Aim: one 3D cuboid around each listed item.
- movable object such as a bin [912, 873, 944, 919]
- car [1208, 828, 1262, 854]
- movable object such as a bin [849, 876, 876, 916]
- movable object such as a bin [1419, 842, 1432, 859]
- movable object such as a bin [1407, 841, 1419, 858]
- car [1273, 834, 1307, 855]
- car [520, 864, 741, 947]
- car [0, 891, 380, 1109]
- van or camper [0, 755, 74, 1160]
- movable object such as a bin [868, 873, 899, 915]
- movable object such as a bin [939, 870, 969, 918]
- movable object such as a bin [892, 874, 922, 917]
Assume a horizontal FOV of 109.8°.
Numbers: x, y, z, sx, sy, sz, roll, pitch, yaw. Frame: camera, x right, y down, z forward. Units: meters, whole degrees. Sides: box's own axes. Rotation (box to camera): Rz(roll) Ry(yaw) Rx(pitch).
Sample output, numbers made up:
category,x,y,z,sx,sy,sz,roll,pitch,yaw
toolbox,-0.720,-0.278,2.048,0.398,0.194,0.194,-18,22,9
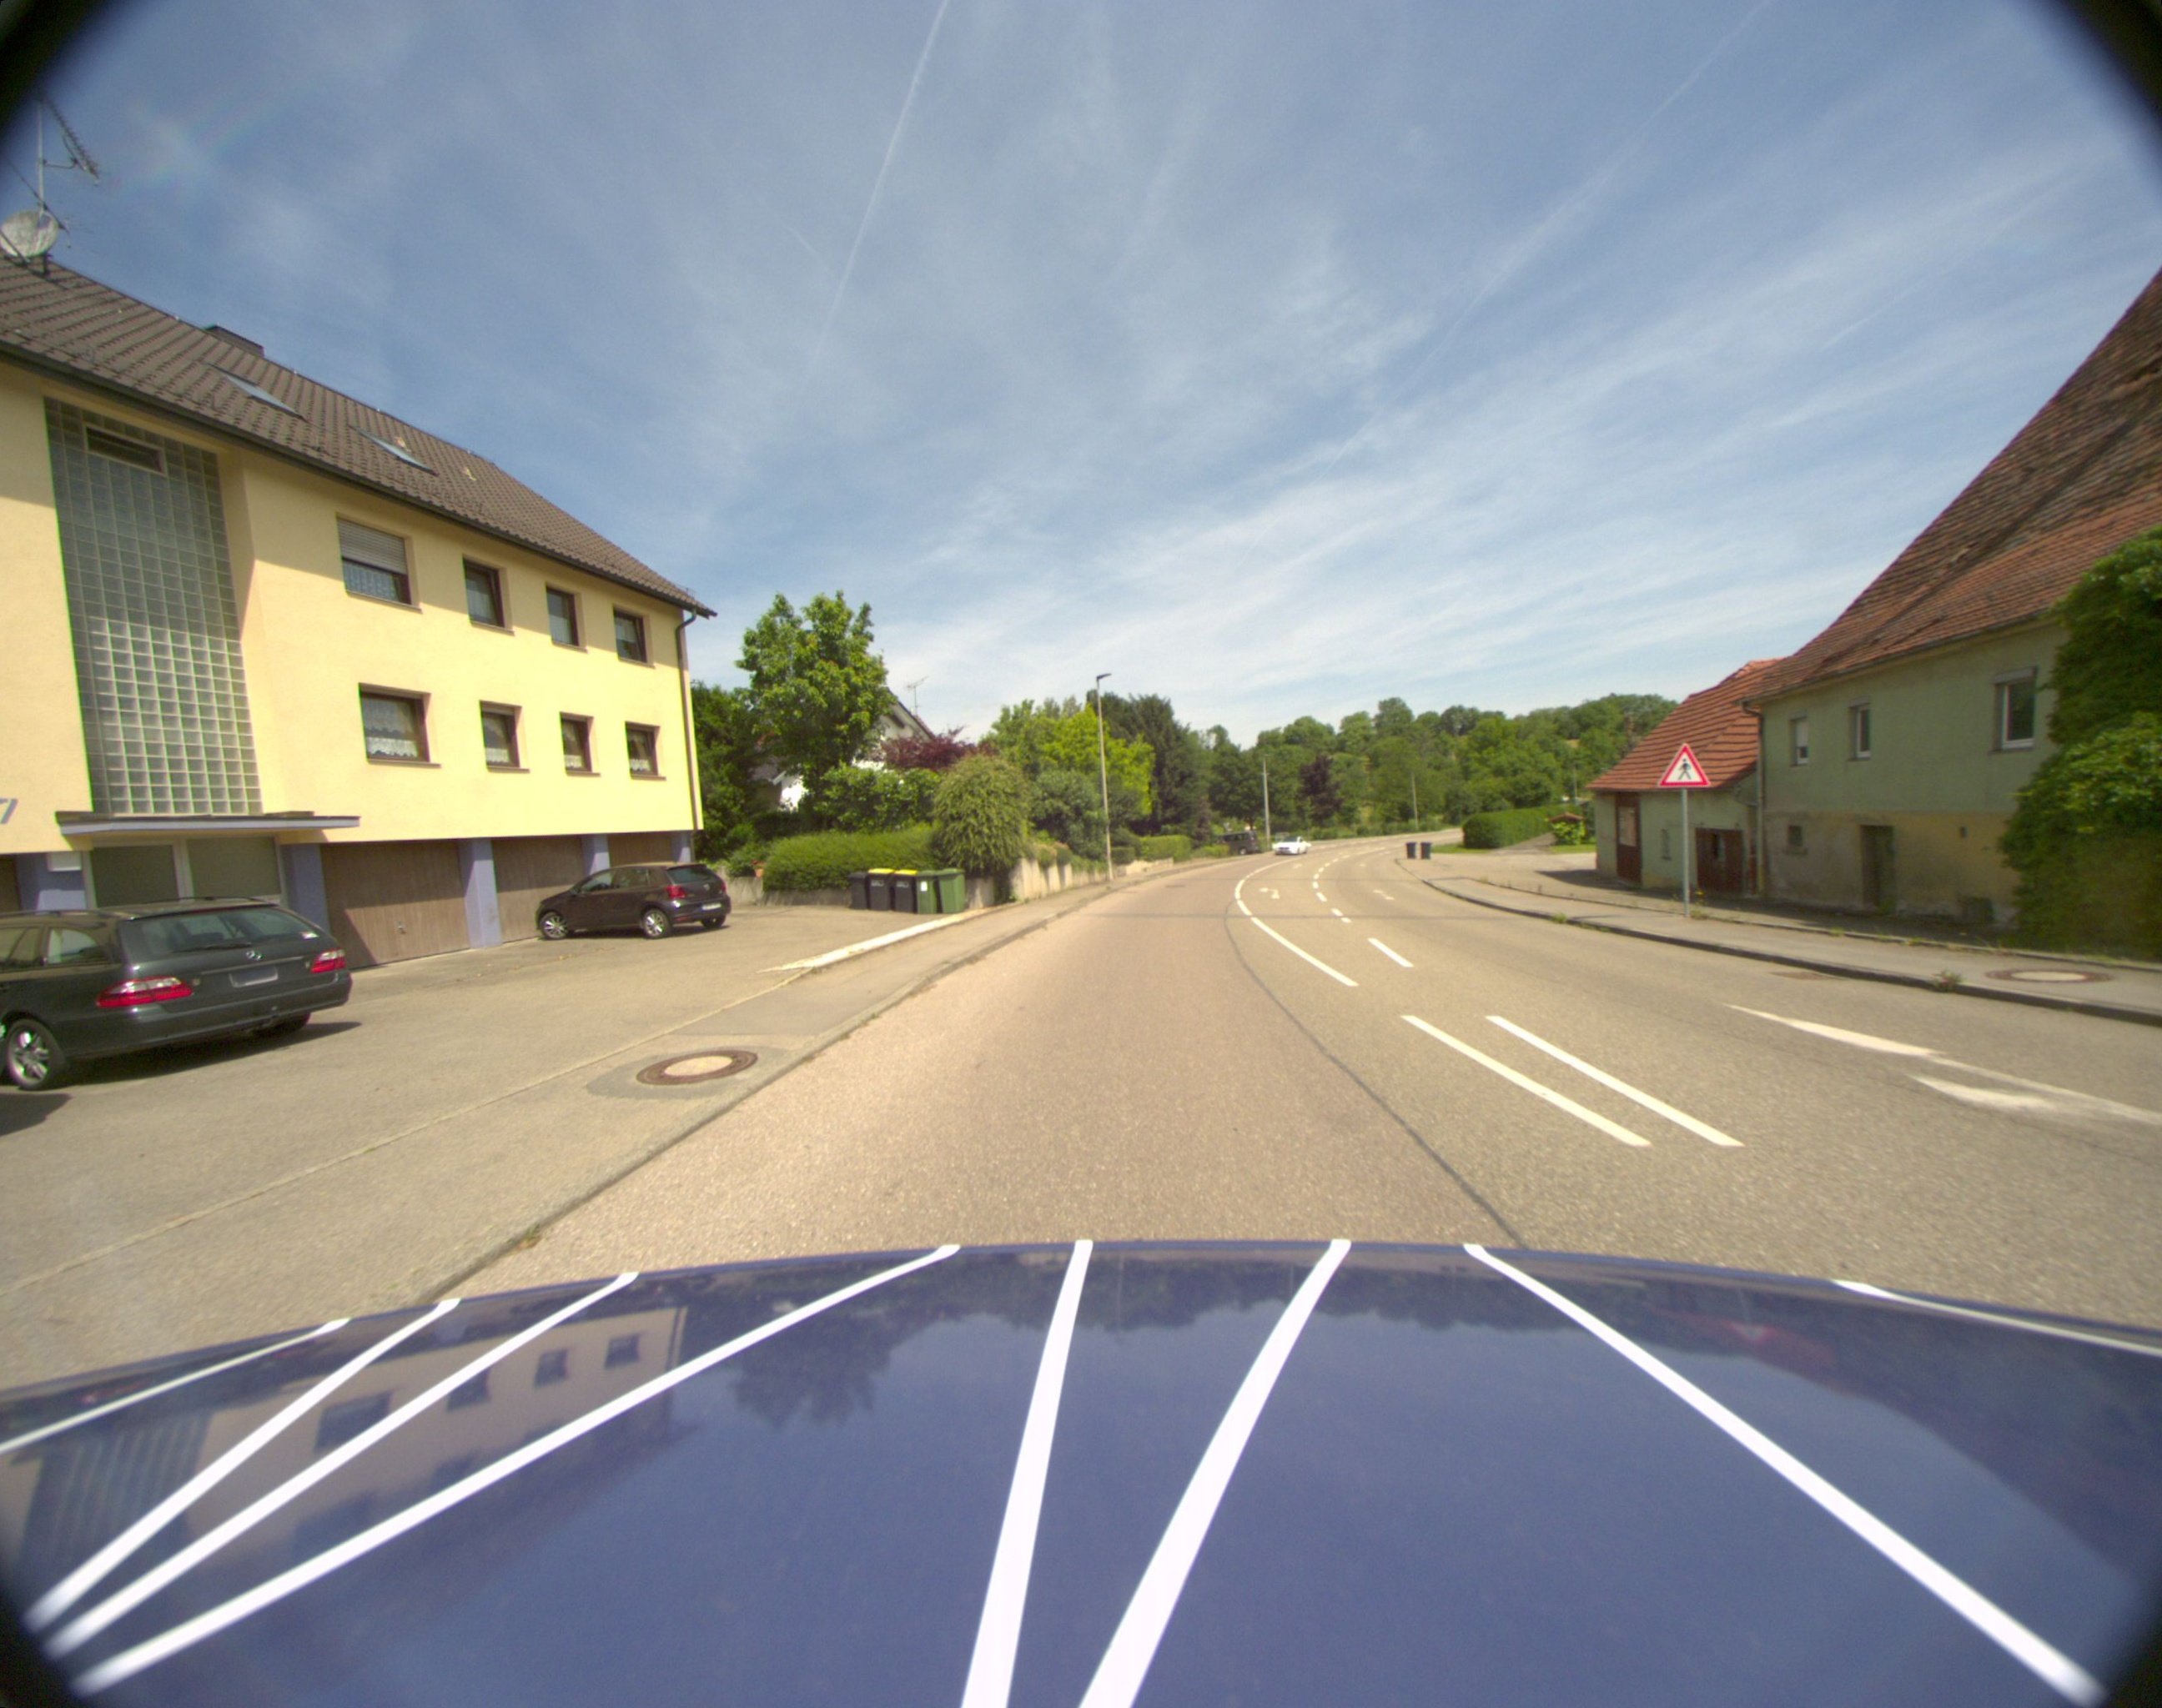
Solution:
category,x,y,z,sx,sy,sz,roll,pitch,yaw
movable object such as a bin,-3.715,1.017,18.491,0.485,1.064,0.565,-3,1,17
car,12.741,-1.062,62.993,3.901,1.938,1.959,-3,1,29
movable object such as a bin,-5.450,1.036,18.948,0.449,0.950,0.516,1,2,14
movable object such as a bin,21.231,-0.223,46.850,0.534,1.044,0.541,-3,1,3
movable object such as a bin,21.175,-0.304,48.460,0.553,1.075,0.541,-3,1,3
car,16.852,-0.788,61.188,1.823,1.543,4.006,-3,0,27
car,-9.059,1.026,15.358,3.686,1.410,1.646,-3,2,15
car,-9.837,1.315,7.403,4.707,1.555,1.909,-3,3,12
van or camper,-9.821,0.924,4.579,5.235,2.632,2.285,-5,3,12
movable object such as a bin,-4.894,0.984,18.848,0.485,1.016,0.565,0,2,17
movable object such as a bin,-3.072,0.952,18.356,0.485,1.101,0.565,-3,1,13
movable object such as a bin,-4.271,1.011,18.684,0.485,1.016,0.565,0,2,17
